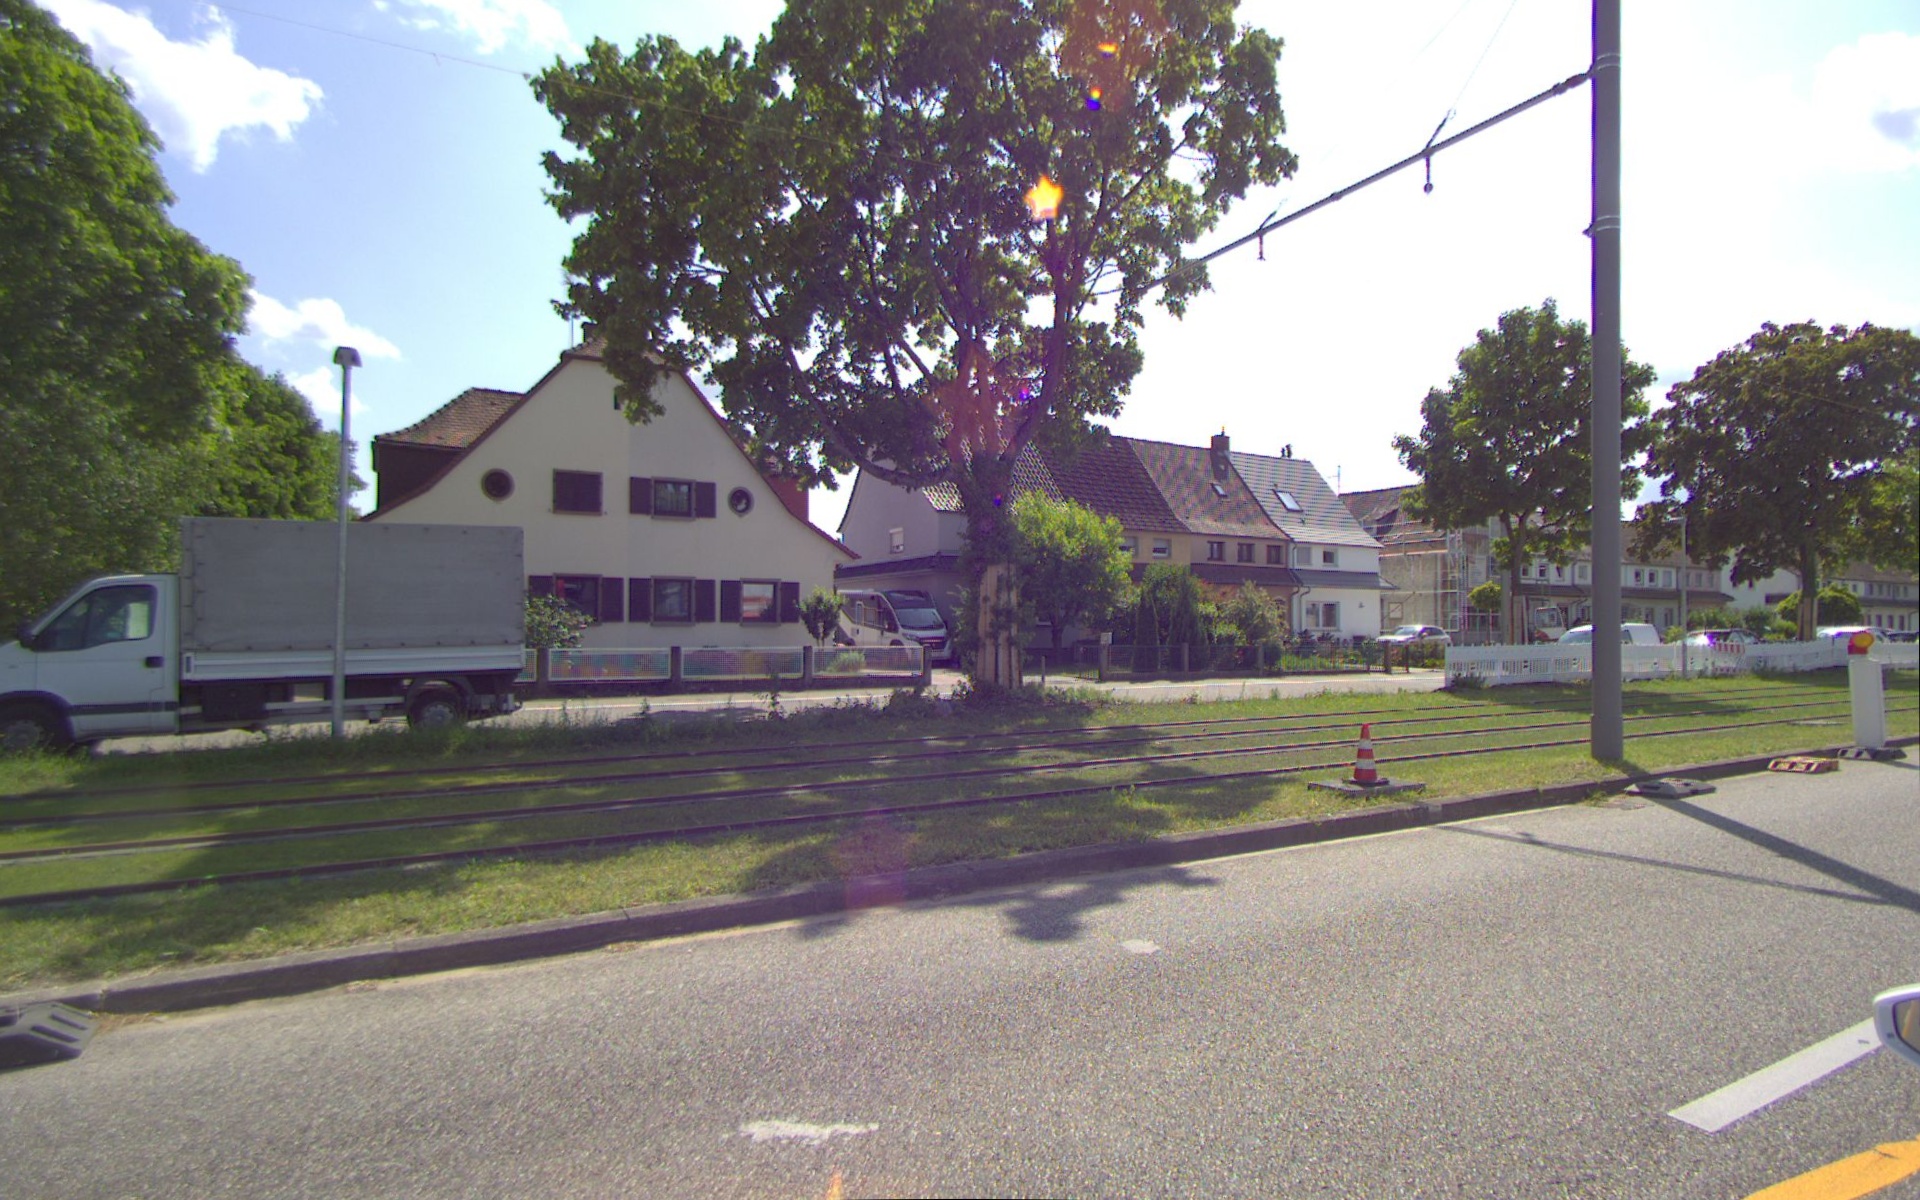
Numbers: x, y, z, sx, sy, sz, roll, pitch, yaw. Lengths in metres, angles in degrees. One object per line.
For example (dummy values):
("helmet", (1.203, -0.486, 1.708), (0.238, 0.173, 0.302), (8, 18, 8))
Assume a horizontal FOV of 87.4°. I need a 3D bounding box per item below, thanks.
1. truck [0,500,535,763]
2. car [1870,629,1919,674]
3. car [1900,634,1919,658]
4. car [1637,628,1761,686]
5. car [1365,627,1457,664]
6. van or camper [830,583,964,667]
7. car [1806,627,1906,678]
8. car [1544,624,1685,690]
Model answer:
("truck", (-8.823, 0.402, 12.975), (5.906, 2.817, 2.255), (1, -2, -31))
("car", (40.659, 2.168, 42.698), (4.079, 1.829, 1.768), (1, -2, -30))
("car", (70.045, 3.310, 72.746), (4.079, 1.745, 1.768), (1, -2, -30))
("car", (24.303, 1.813, 33.004), (4.177, 1.797, 1.768), (1, -2, -30))
("car", (20.003, 1.992, 44.498), (3.952, 1.539, 1.768), (1, -2, -30))
("van or camper", (-2.421, 0.937, 36.618), (2.269, 2.801, 6.051), (1, -2, -32))
("car", (35.375, 2.033, 39.642), (4.079, 1.892, 1.768), (1, -2, -30))
("car", (19.584, 1.645, 30.026), (4.312, 1.845, 1.768), (1, -2, -30))
